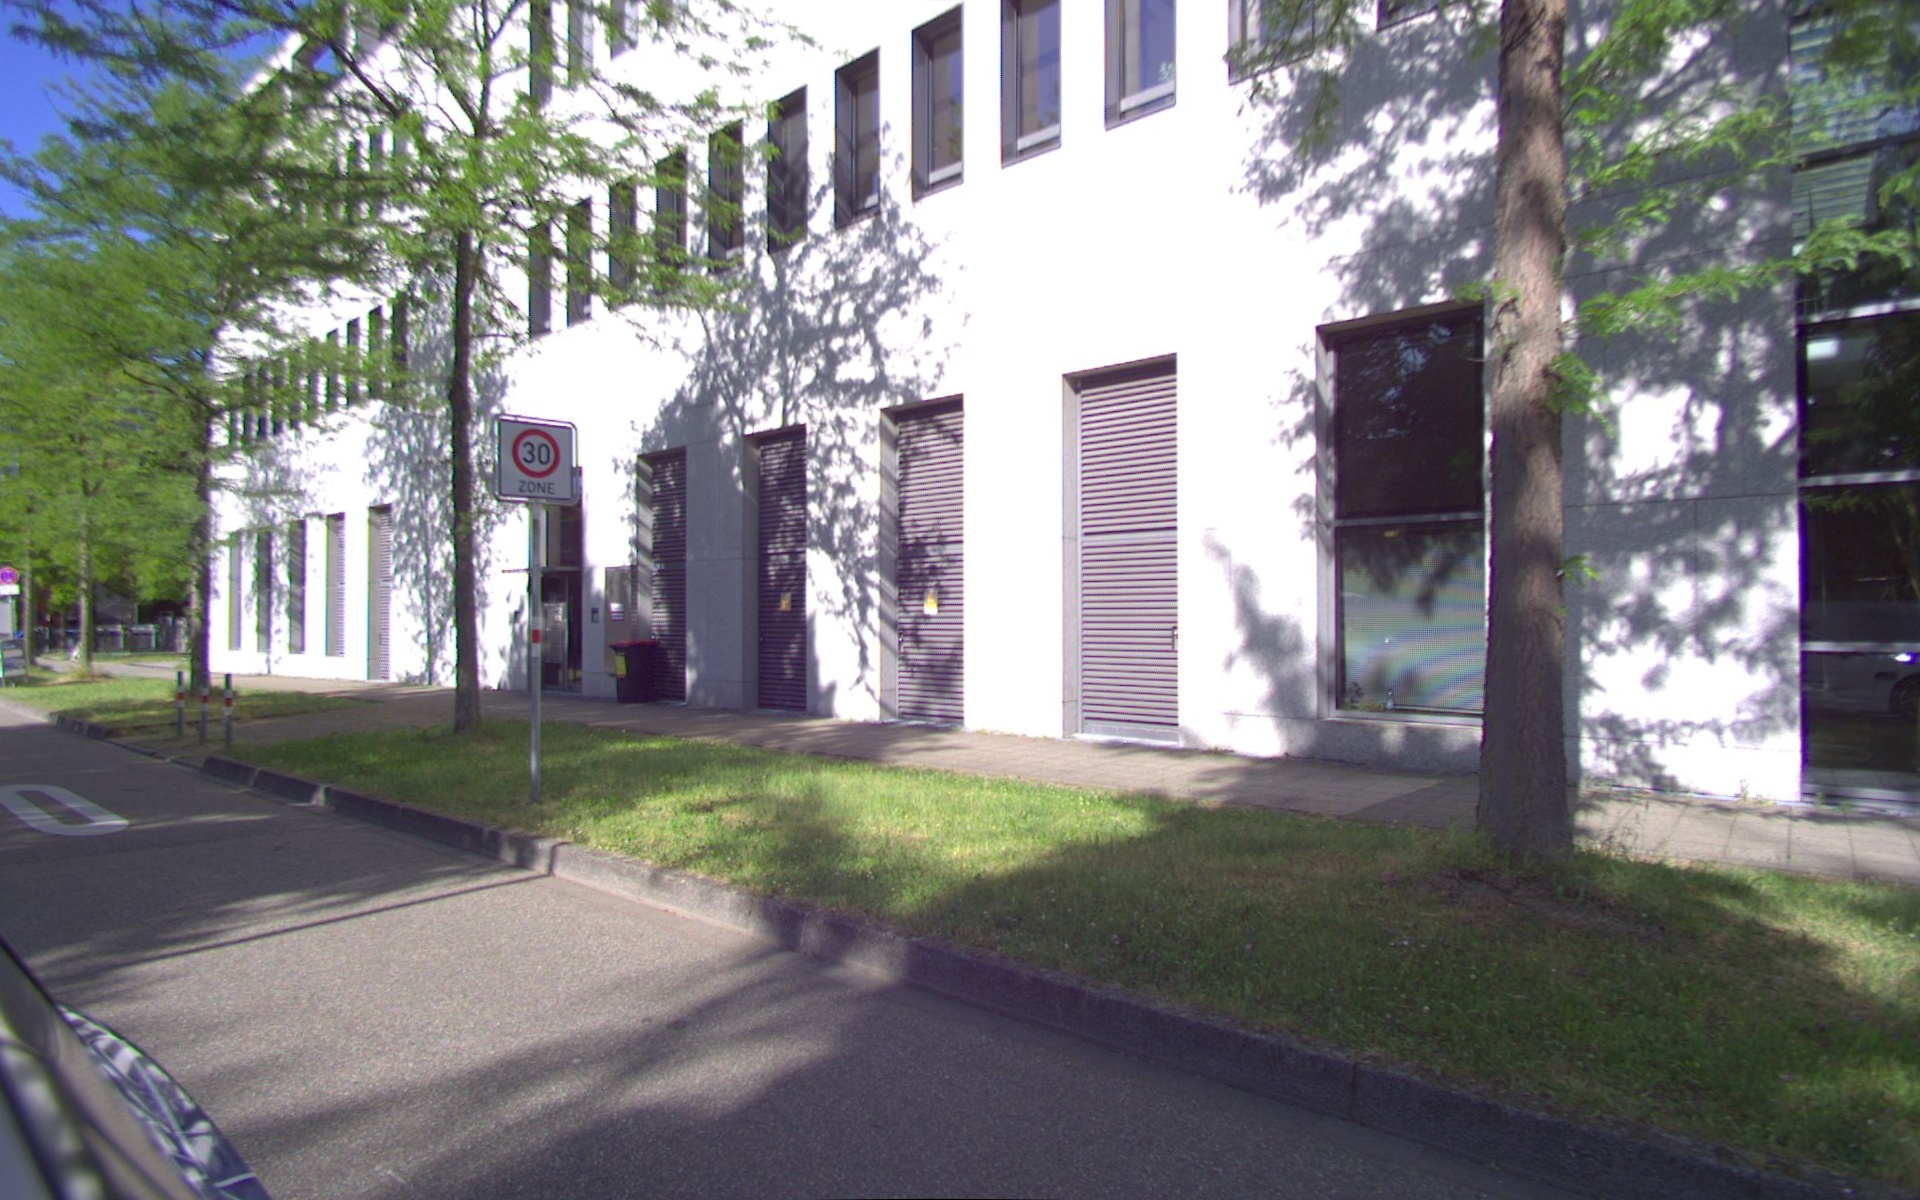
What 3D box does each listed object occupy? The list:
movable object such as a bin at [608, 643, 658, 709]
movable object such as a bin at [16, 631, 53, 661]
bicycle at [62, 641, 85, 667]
[{"bbox_3d":[-5.466,1.257,16.912,0.543,1.048,0.587,-2,-1,38],"label":"movable object such as a bin"},{"bbox_3d":[-52.648,2.604,57.541,1.502,1.580,1.347,0,-1,-45],"label":"movable object such as a bin"},{"bbox_3d":[-42.522,2.574,48.519,1.727,1.201,0.594,-2,-1,41],"label":"bicycle"}]
